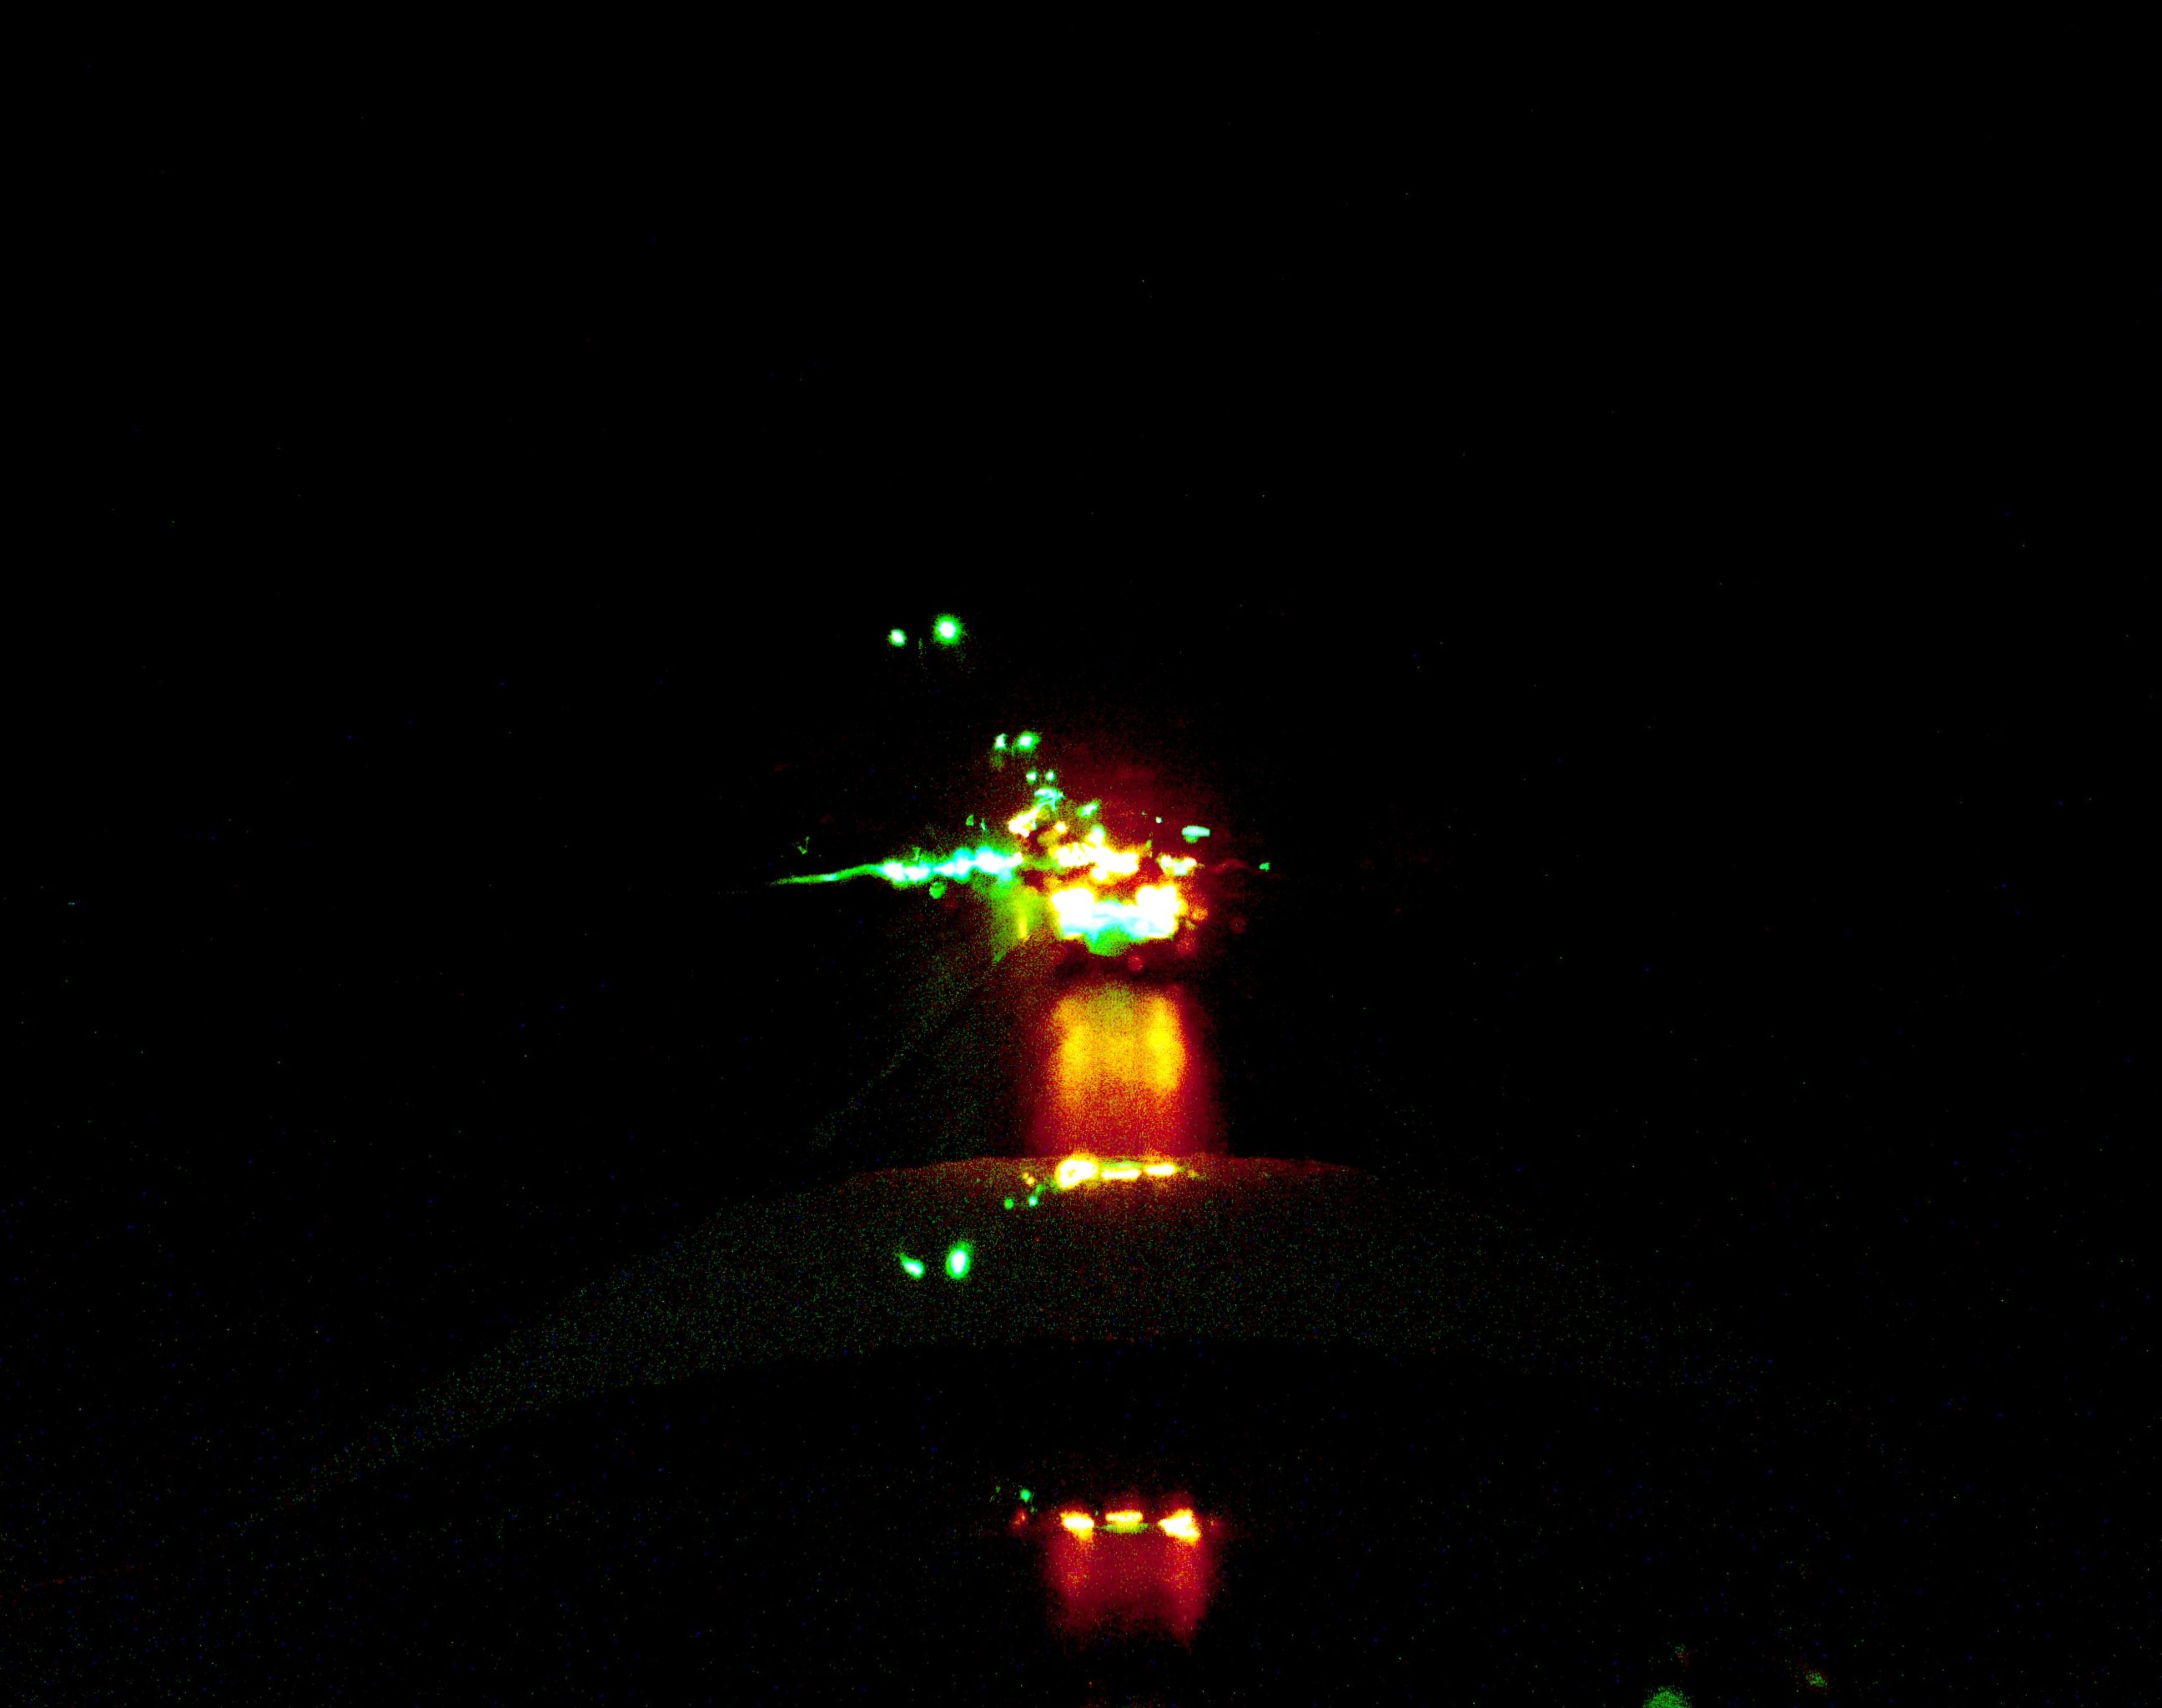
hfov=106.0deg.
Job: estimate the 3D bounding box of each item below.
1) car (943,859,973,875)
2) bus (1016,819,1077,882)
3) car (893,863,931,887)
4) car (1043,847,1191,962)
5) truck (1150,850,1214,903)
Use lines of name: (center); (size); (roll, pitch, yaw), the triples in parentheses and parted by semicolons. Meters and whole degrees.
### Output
car: (-11.857, 1.270, 78.982); (2.016, 1.502, 4.897); (1, -1, 1)
bus: (-1.754, -0.195, 45.477); (2.734, 3.123, 9.203); (1, 0, 1)
car: (-11.583, 1.443, 56.012); (1.594, 1.552, 3.835); (1, -1, 2)
car: (0.616, 0.683, 12.565); (1.935, 1.491, 3.720); (0, -1, 5)
truck: (5.336, 1.181, 42.877); (3.053, 2.529, 7.180); (1, -1, 7)
